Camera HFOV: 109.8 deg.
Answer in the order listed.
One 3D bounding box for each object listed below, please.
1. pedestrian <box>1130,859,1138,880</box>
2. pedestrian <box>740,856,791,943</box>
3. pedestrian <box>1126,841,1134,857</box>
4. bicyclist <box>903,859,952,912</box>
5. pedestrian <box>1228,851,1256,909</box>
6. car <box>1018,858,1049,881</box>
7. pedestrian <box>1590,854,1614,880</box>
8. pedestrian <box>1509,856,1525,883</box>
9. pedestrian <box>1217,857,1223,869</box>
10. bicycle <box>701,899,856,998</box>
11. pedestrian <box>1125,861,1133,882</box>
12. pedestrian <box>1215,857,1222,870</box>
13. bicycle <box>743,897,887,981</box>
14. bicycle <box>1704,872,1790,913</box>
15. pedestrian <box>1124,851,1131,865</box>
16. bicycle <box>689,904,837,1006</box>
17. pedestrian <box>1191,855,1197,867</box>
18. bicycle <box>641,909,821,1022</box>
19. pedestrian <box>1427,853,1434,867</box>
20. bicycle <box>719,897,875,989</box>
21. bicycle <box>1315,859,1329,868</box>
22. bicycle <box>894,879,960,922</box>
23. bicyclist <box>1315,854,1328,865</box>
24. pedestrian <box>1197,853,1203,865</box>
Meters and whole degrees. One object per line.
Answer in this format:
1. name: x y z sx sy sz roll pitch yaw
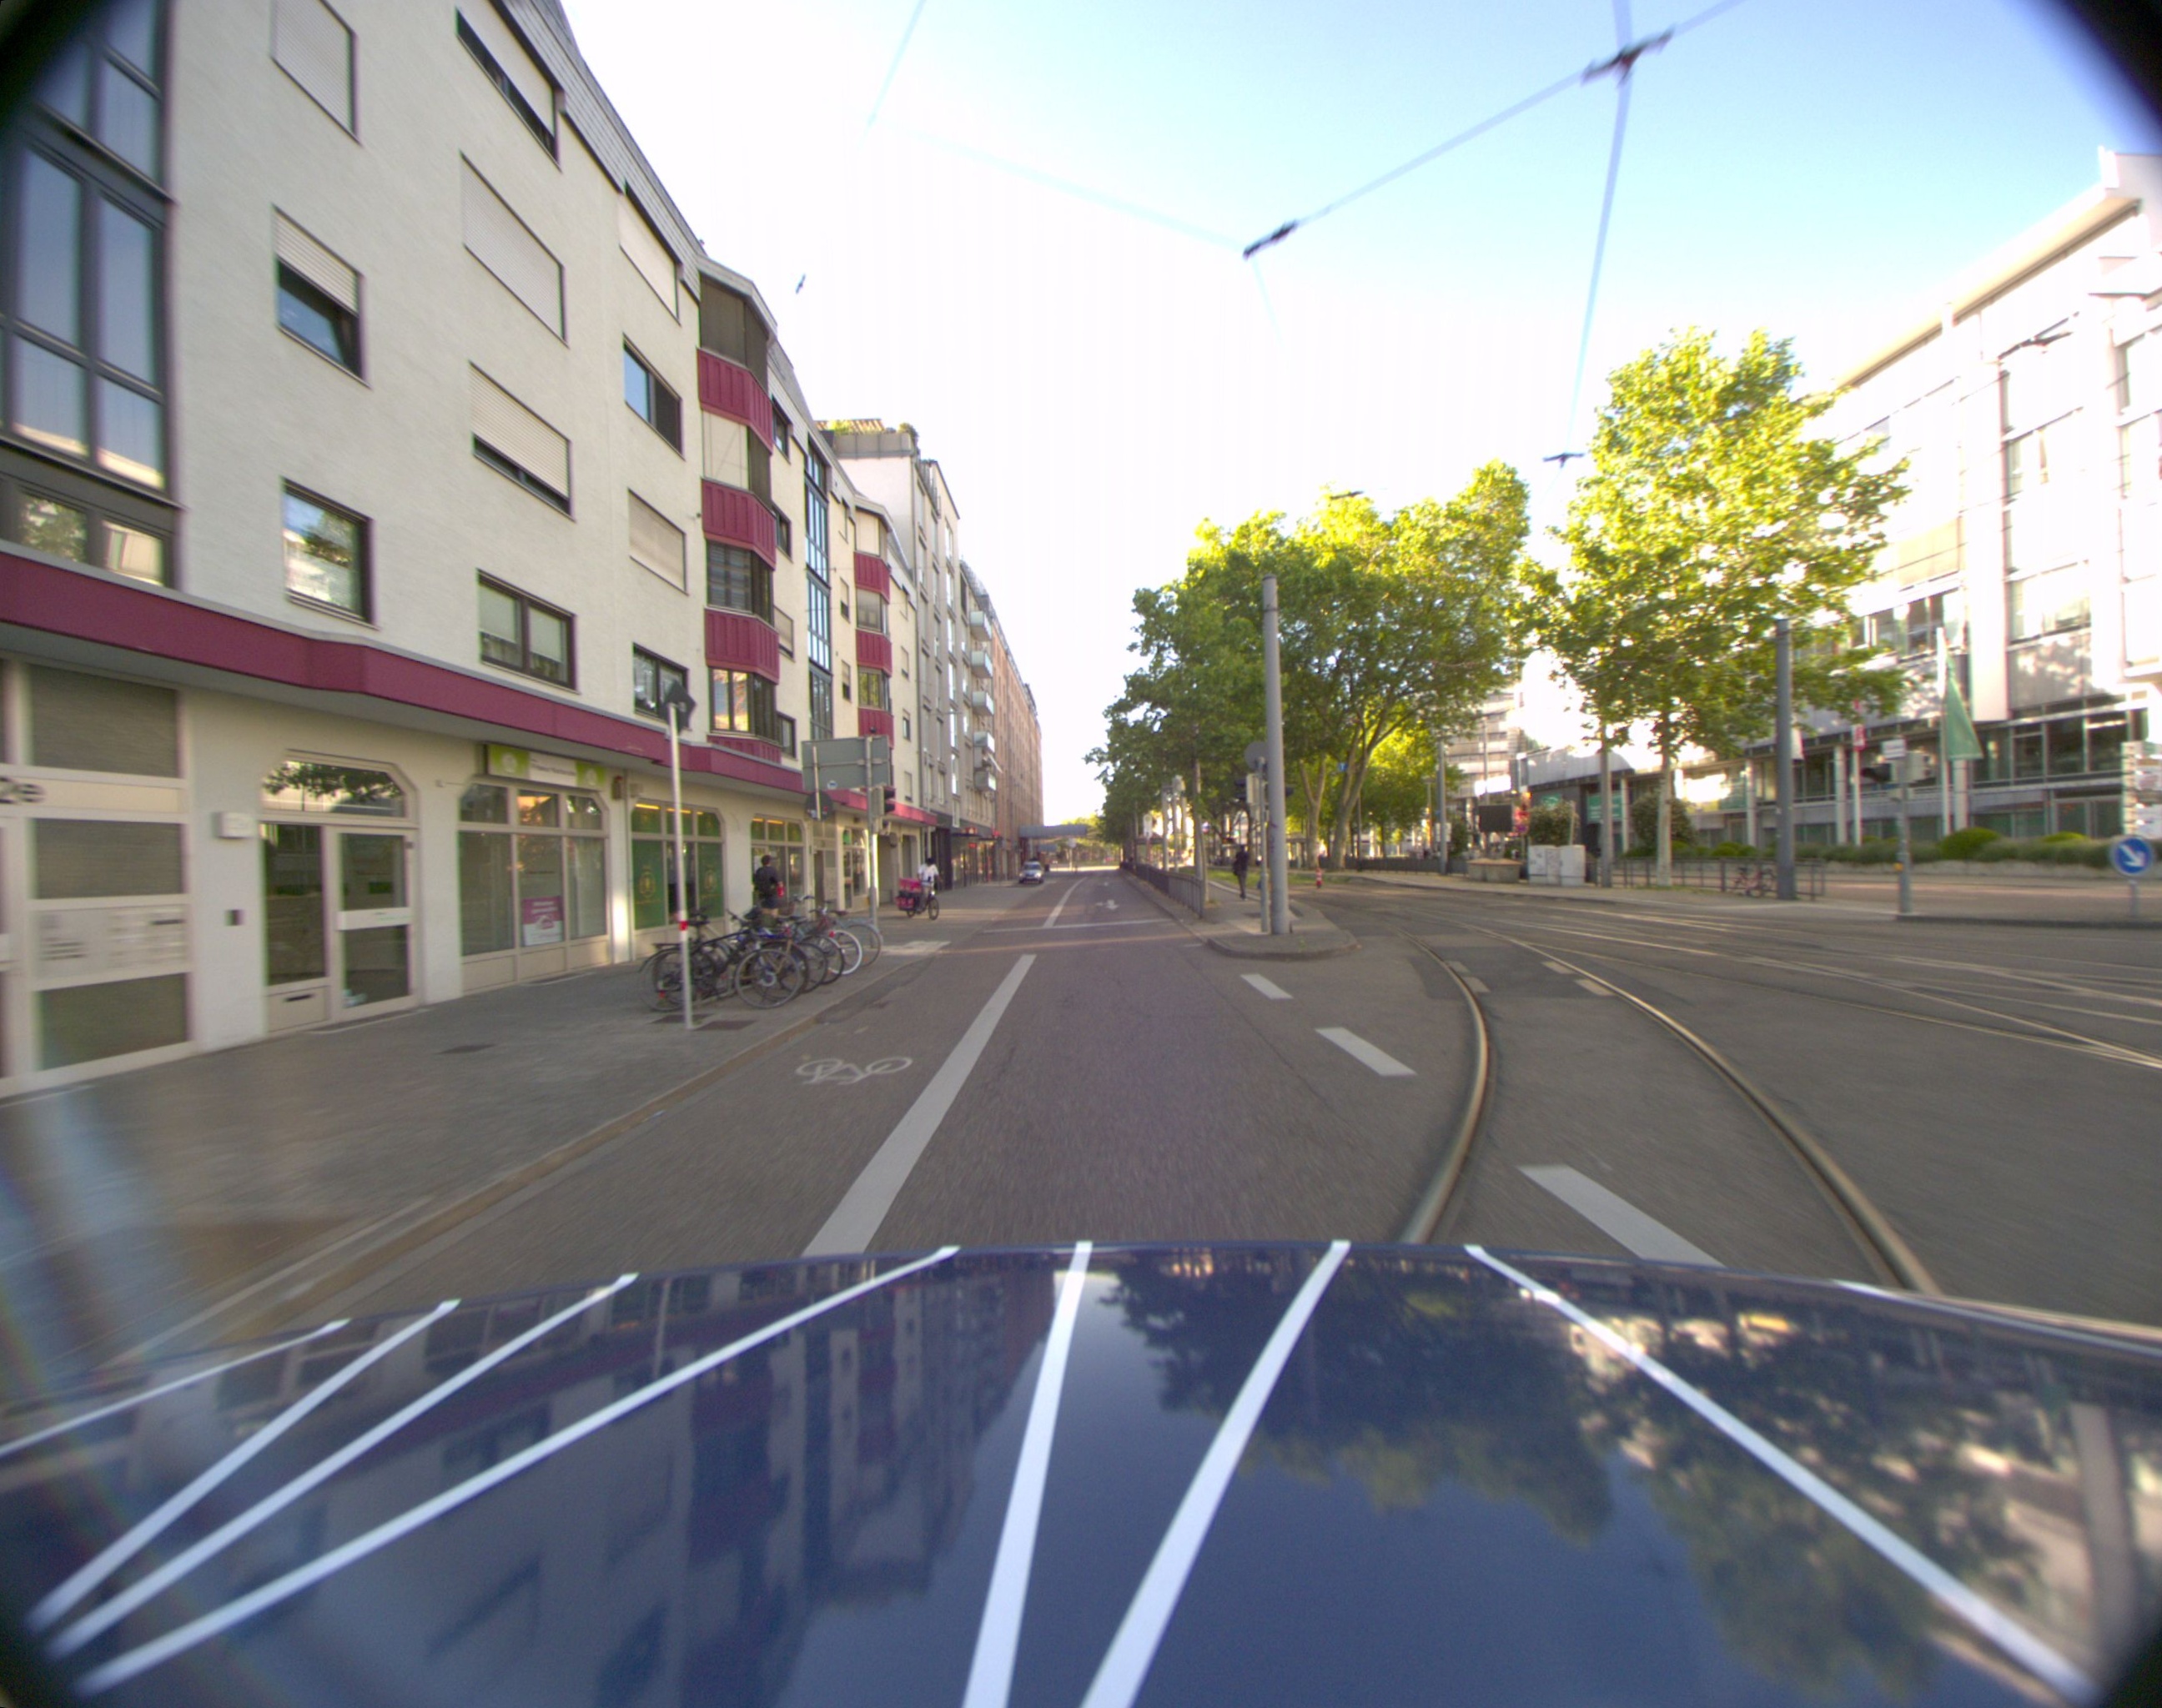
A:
1. pedestrian: 4.708 1.406 67.886 0.647 1.875 0.661 -1 0 2
2. pedestrian: -6.848 0.973 16.541 0.724 1.847 0.801 -1 0 1
3. pedestrian: 5.469 -0.567 84.775 0.708 1.791 0.826 -2 0 -5
4. bicyclist: -4.601 0.915 22.820 1.062 1.531 1.076 -1 0 -36
5. pedestrian: 4.936 0.779 23.365 0.735 1.736 0.712 -2 0 6
6. car: -3.496 1.138 56.550 1.837 1.613 4.285 1 0 2
7. pedestrian: 32.029 0.782 46.703 0.908 1.583 0.767 -1 0 1
8. pedestrian: 31.810 1.111 55.412 0.607 1.964 0.834 -3 0 -1
9. pedestrian: 18.148 1.156 99.387 0.554 1.488 0.550 -2 0 -10
10. bicycle: -3.950 1.231 9.977 1.835 1.213 0.496 -1 0 5
11. pedestrian: 4.195 1.511 66.304 0.647 1.860 0.753 -2 0 2
12. pedestrian: 18.302 1.243 101.432 0.669 1.632 0.669 -2 1 -10
13. bicycle: -3.993 1.268 11.485 1.945 1.163 0.572 -1 0 -2
14. bicycle: 17.009 0.964 19.453 0.814 0.940 1.727 -1 0 7
15. pedestrian: 5.695 0.462 93.270 0.742 1.680 0.645 -4 0 0
16. bicycle: -3.918 1.237 9.405 1.626 1.192 0.496 -1 1 6
17. pedestrian: 17.118 1.047 114.710 0.686 1.686 0.699 -2 0 -6
18. bicycle: -3.968 1.252 8.661 1.805 1.192 0.546 -1 1 6
19. pedestrian: 41.550 0.704 90.426 0.579 1.595 0.580 -2 0 7
20. bicycle: -4.025 1.252 10.864 1.982 1.192 0.591 -1 0 -3
21. bicycle: 28.388 1.151 89.561 0.802 0.991 2.585 -3 -1 -2
22. bicycle: -4.679 1.362 22.951 0.965 1.176 2.591 -1 0 -36
23. bicyclist: 28.381 0.674 89.551 1.007 1.242 1.374 -3 0 -2
24. pedestrian: 18.023 0.791 114.767 0.656 1.744 0.676 -2 0 -6
